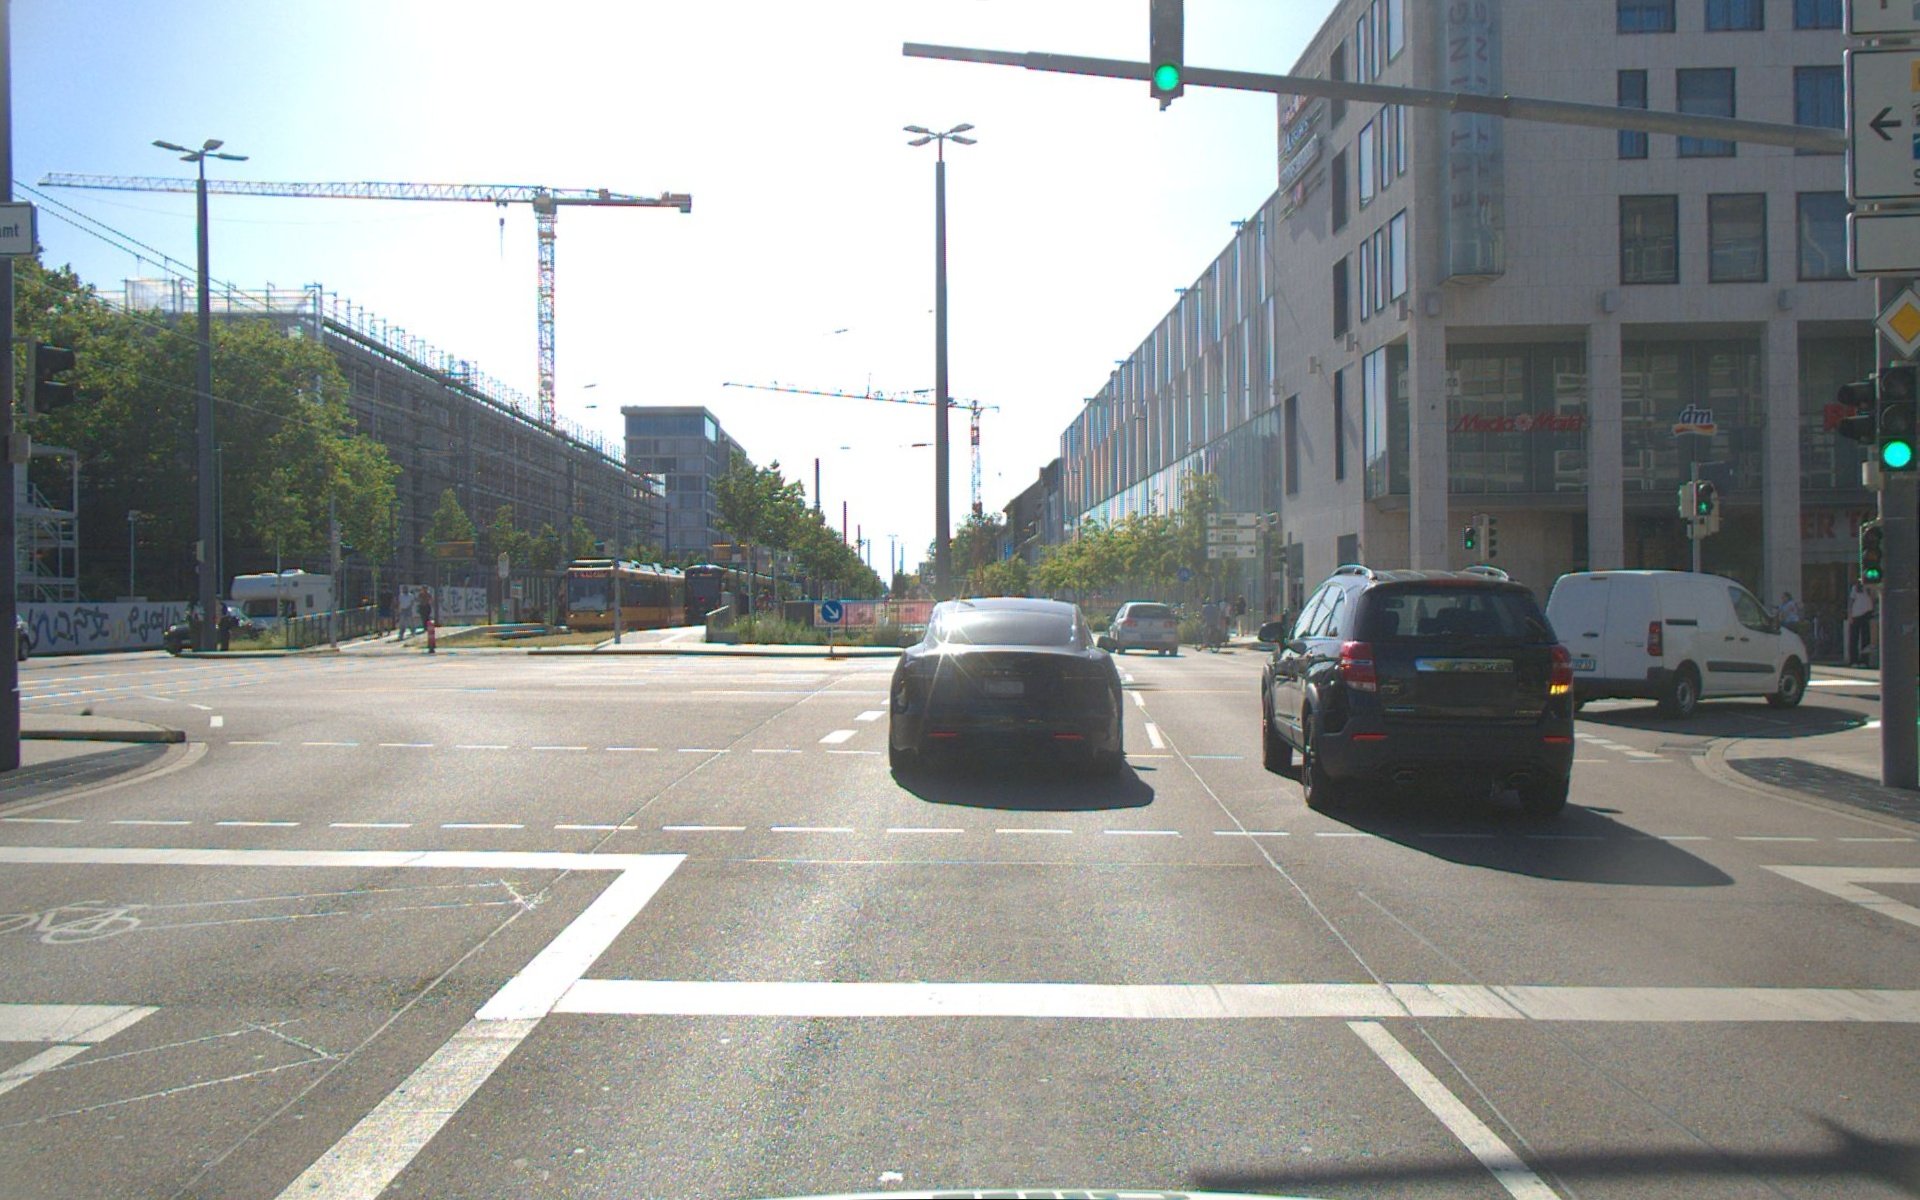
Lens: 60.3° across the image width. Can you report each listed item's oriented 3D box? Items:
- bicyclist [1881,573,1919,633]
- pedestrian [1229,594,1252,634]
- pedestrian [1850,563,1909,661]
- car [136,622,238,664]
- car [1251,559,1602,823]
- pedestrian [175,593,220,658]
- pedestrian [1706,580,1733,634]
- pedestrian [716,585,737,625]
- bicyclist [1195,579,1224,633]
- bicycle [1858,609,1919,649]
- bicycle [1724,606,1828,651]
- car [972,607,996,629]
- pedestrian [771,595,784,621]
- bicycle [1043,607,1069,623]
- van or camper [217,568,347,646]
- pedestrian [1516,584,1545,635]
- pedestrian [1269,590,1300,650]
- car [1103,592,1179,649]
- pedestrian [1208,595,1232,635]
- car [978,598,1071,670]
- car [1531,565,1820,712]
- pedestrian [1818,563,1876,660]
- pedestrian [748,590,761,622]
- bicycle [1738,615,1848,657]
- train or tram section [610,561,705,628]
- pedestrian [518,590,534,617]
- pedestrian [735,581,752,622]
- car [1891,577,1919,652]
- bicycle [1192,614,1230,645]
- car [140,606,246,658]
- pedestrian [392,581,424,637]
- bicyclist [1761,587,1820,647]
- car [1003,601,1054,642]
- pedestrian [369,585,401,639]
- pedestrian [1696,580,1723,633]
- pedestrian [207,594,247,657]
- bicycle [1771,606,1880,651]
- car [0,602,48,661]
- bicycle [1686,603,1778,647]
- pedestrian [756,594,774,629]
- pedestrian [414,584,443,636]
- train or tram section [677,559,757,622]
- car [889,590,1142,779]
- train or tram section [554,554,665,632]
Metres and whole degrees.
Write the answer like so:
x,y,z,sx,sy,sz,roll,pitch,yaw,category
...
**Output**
x,y,z,sx,sy,sz,roll,pitch,yaw,category
23.263,0.067,40.419,0.913,1.458,1.041,-1,0,2,bicyclist
12.070,0.587,71.218,0.693,1.687,0.899,-3,0,-6,pedestrian
15.750,0.208,28.334,0.648,1.640,0.526,-3,0,-10,pedestrian
-32.074,1.765,68.793,1.953,1.588,4.830,-1,0,0,car
3.442,0.590,13.058,1.747,1.729,4.414,0,0,3,car
-22.117,0.734,47.987,0.785,1.855,0.880,-1,0,31,pedestrian
25.932,0.237,56.483,0.551,1.793,0.641,-1,1,-38,pedestrian
-10.775,0.227,76.278,0.857,1.806,1.188,1,0,-4,pedestrian
8.349,0.197,55.356,0.710,1.767,0.996,-1,0,-5,bicyclist
23.319,0.702,40.424,2.147,0.948,1.030,-1,0,2,bicycle
21.537,0.726,43.776,1.044,1.113,3.497,-1,0,1,bicycle
1.874,1.398,127.391,1.849,1.624,4.001,-1,0,1,car
-11.695,0.513,105.789,0.726,1.657,0.861,0,0,-1,pedestrian
7.416,1.128,127.218,1.848,1.171,0.669,-2,0,-12,bicycle
-27.531,0.271,67.550,2.553,2.988,7.338,-1,0,-3,van or camper
18.349,0.298,53.205,0.732,1.636,0.556,-1,0,-3,pedestrian
9.623,0.603,49.049,0.644,1.732,0.697,-3,0,-3,pedestrian
5.227,0.560,48.210,1.748,1.573,4.038,0,0,0,car
11.225,0.643,71.474,0.805,1.687,0.899,0,0,-6,pedestrian
1.252,0.643,33.444,1.681,1.343,3.999,0,0,-1,car
9.499,0.451,21.846,4.120,1.764,1.766,0,0,-38,car
15.521,0.201,28.946,0.648,1.640,0.526,-3,0,-10,pedestrian
-11.894,0.368,95.823,0.658,1.842,1.074,-1,-1,-2,pedestrian
20.357,0.880,40.460,2.147,0.960,1.072,-1,0,2,bicycle
-16.992,-0.297,94.034,2.790,3.379,15.961,2,0,-2,train or tram section
-20.612,0.172,78.580,0.658,1.248,0.505,1,-1,-4,pedestrian
-9.589,0.048,73.286,0.689,1.806,0.958,1,0,-4,pedestrian
23.096,0.289,36.422,4.099,1.641,1.861,-1,-2,1,car
8.365,0.975,55.278,0.714,1.001,2.331,0,0,-5,bicycle
-27.380,1.111,59.200,1.906,1.737,4.365,-1,0,-3,car
-18.742,0.301,56.219,0.784,1.855,0.975,-1,0,-4,pedestrian
20.312,0.408,40.457,0.913,1.420,1.077,-1,0,2,bicyclist
2.536,0.788,61.904,1.681,1.457,3.999,0,0,-1,car
-20.078,0.409,57.753,0.784,1.855,0.975,-1,0,-4,pedestrian
25.395,0.222,56.023,0.551,1.793,0.641,-1,1,-38,pedestrian
-21.914,0.756,49.489,0.784,1.855,0.975,-1,0,-4,pedestrian
22.677,0.735,43.439,1.044,1.113,3.497,-1,0,1,bicycle
-29.285,0.947,49.280,1.954,1.737,4.556,-1,0,-4,car
20.388,0.632,43.775,1.044,1.113,2.991,-1,0,1,bicycle
-9.229,0.541,78.420,0.726,1.657,0.861,0,0,-1,pedestrian
-19.224,0.369,59.846,0.784,1.855,0.975,-1,0,-4,pedestrian
-14.063,-0.501,97.103,2.812,3.337,15.179,1,0,-2,train or tram section
0.422,0.657,15.013,1.958,1.459,4.412,0,0,0,car
-16.619,-0.288,79.503,2.812,3.367,13.068,1,0,-2,train or tram section
